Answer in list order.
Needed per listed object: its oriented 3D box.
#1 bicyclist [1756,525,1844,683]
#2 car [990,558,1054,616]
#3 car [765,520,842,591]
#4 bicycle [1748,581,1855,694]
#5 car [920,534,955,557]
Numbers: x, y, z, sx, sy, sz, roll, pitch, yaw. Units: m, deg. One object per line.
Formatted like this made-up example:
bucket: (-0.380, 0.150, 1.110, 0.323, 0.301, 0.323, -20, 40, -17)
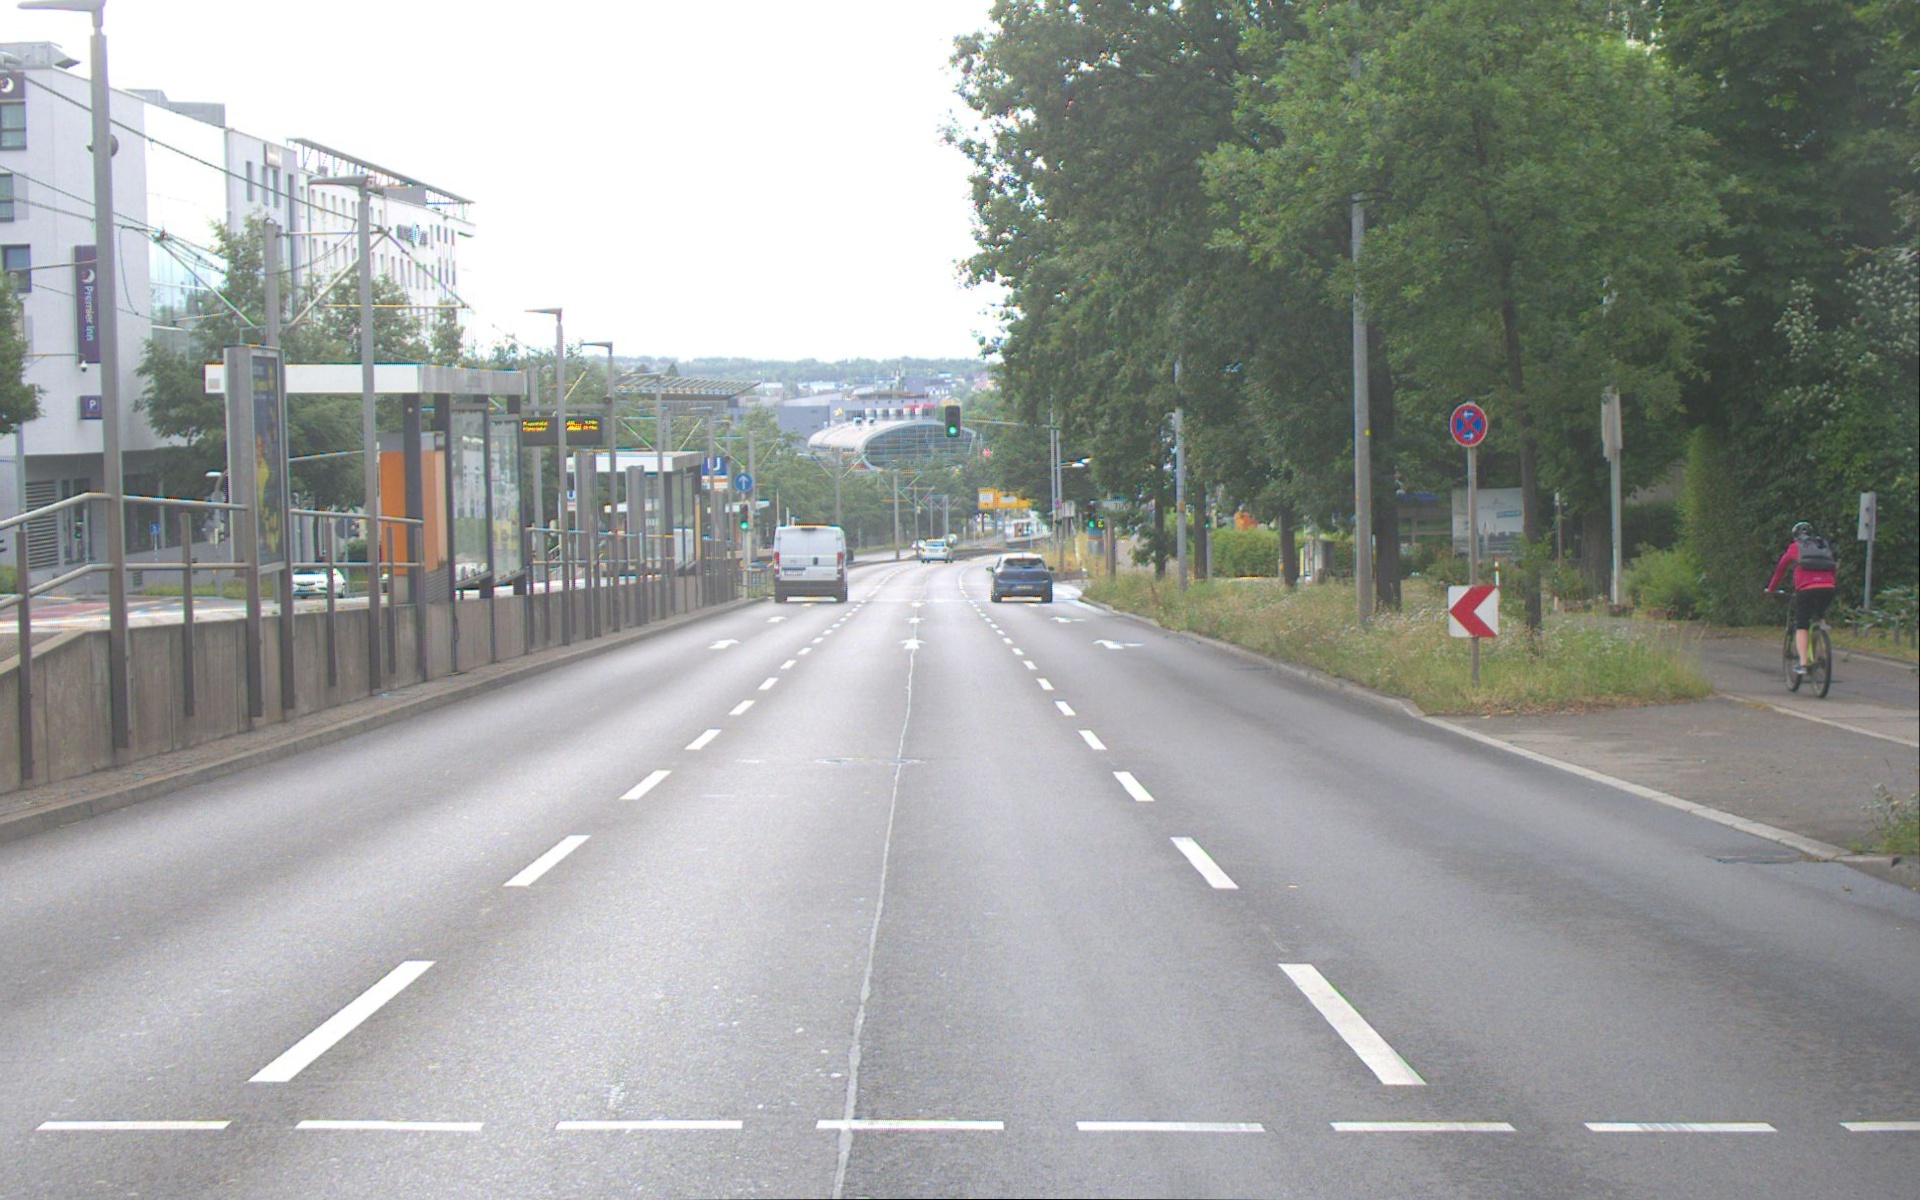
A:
bicyclist: (8.517, 0.034, 34.893, 0.646, 1.573, 0.855, 1, 1, -1)
car: (1.833, -0.413, 102.479, 1.774, 1.685, 3.845, 0, 1, -1)
car: (-4.583, -1.315, 101.263, 2.093, 2.047, 4.606, 0, 1, -1)
bicycle: (8.531, 0.369, 34.930, 0.580, 1.085, 1.906, 1, 1, -1)
car: (-1.405, -3.409, 214.743, 1.783, 1.385, 3.999, 0, 1, 6)
